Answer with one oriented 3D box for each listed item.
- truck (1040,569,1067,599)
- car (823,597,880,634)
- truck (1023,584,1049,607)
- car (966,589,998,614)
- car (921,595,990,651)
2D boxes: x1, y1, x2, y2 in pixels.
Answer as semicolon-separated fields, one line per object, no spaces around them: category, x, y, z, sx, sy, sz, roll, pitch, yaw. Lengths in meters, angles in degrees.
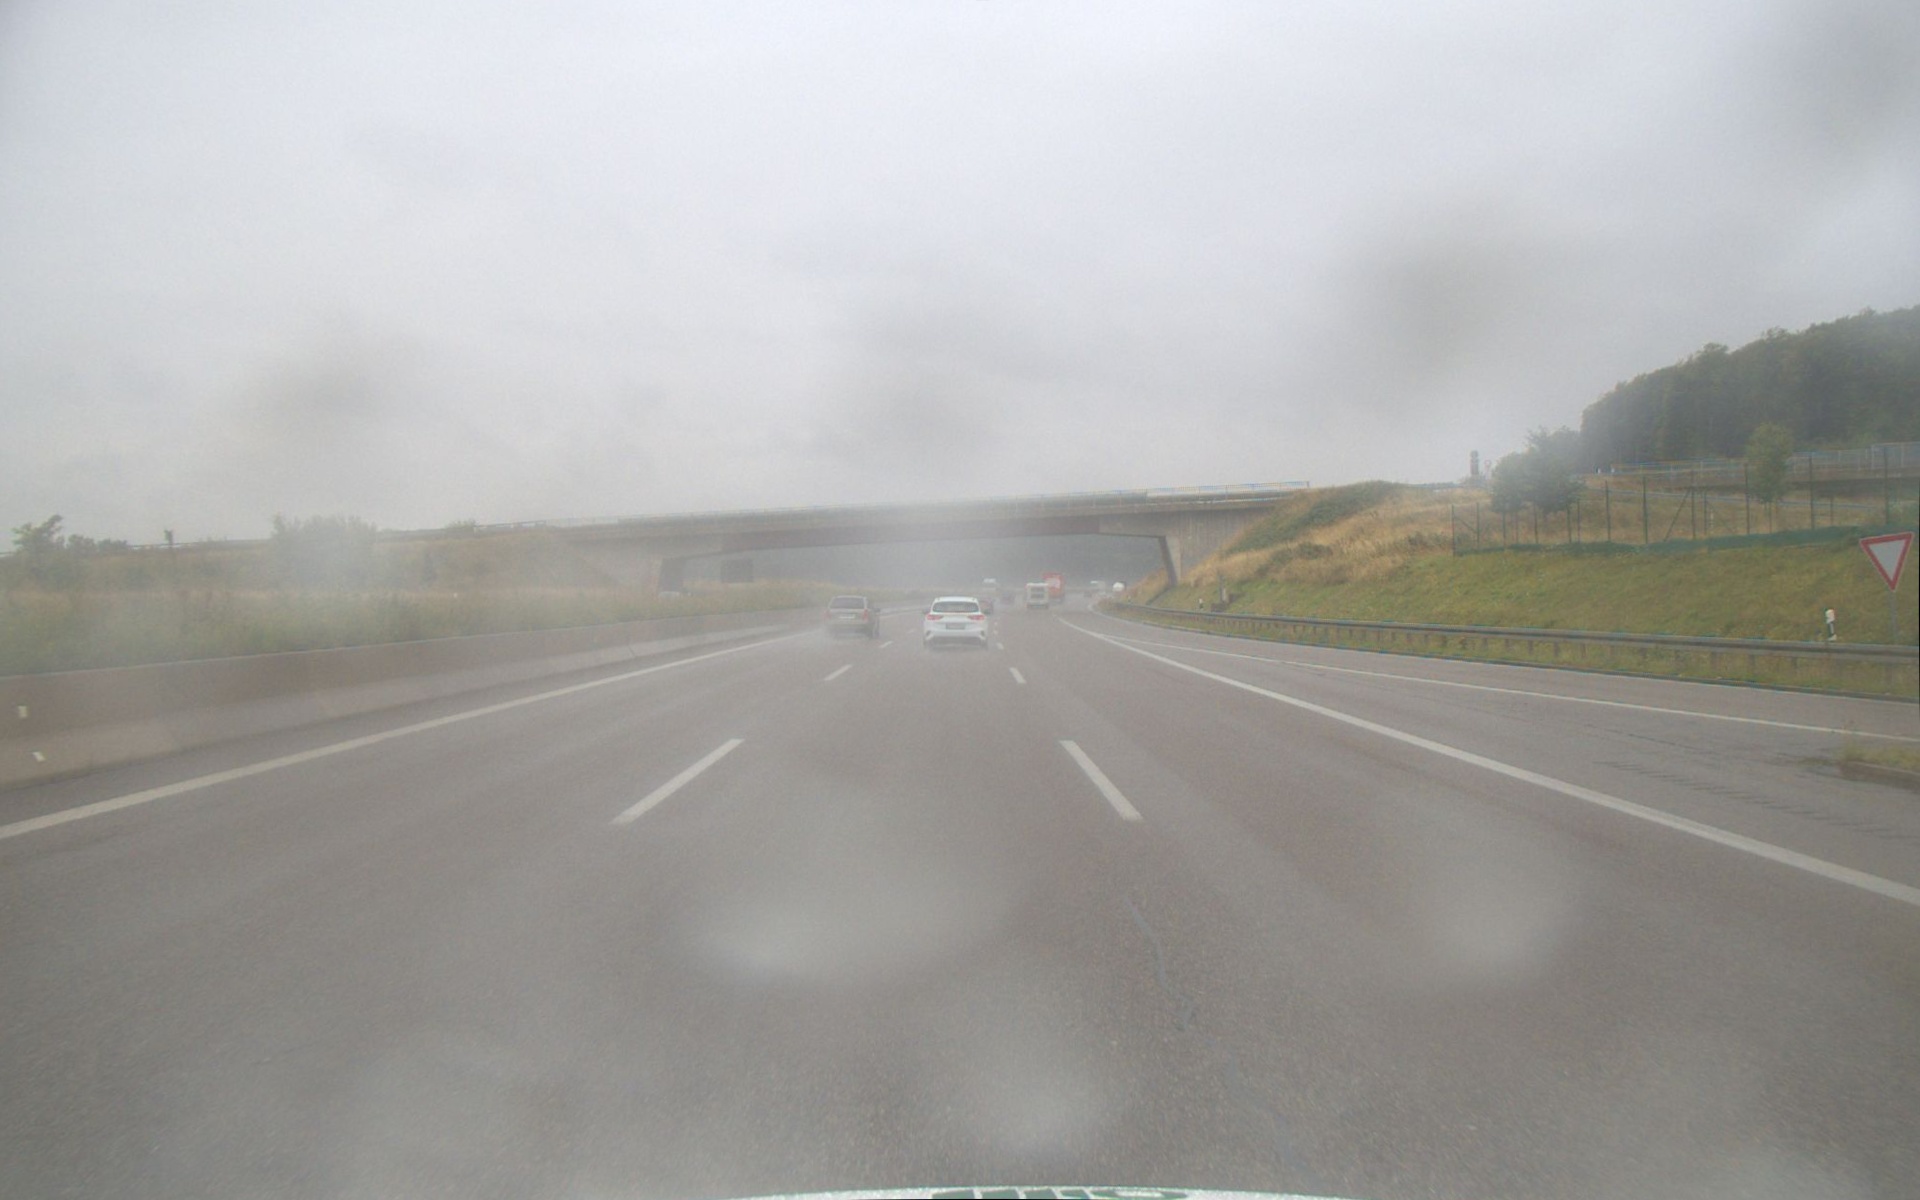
truck;12.384;-2.228;218.815;3.453;3.808;11.432;1;1;3
car;-3.708;0.545;57.043;1.787;1.177;4.211;1;-1;-1
truck;7.674;-0.493;166.086;2.357;2.291;4.696;0;0;6
car;1.515;0.094;112.051;1.951;1.646;4.002;0;0;4
car;-0.141;0.637;46.488;1.829;1.488;3.999;0;0;-1
